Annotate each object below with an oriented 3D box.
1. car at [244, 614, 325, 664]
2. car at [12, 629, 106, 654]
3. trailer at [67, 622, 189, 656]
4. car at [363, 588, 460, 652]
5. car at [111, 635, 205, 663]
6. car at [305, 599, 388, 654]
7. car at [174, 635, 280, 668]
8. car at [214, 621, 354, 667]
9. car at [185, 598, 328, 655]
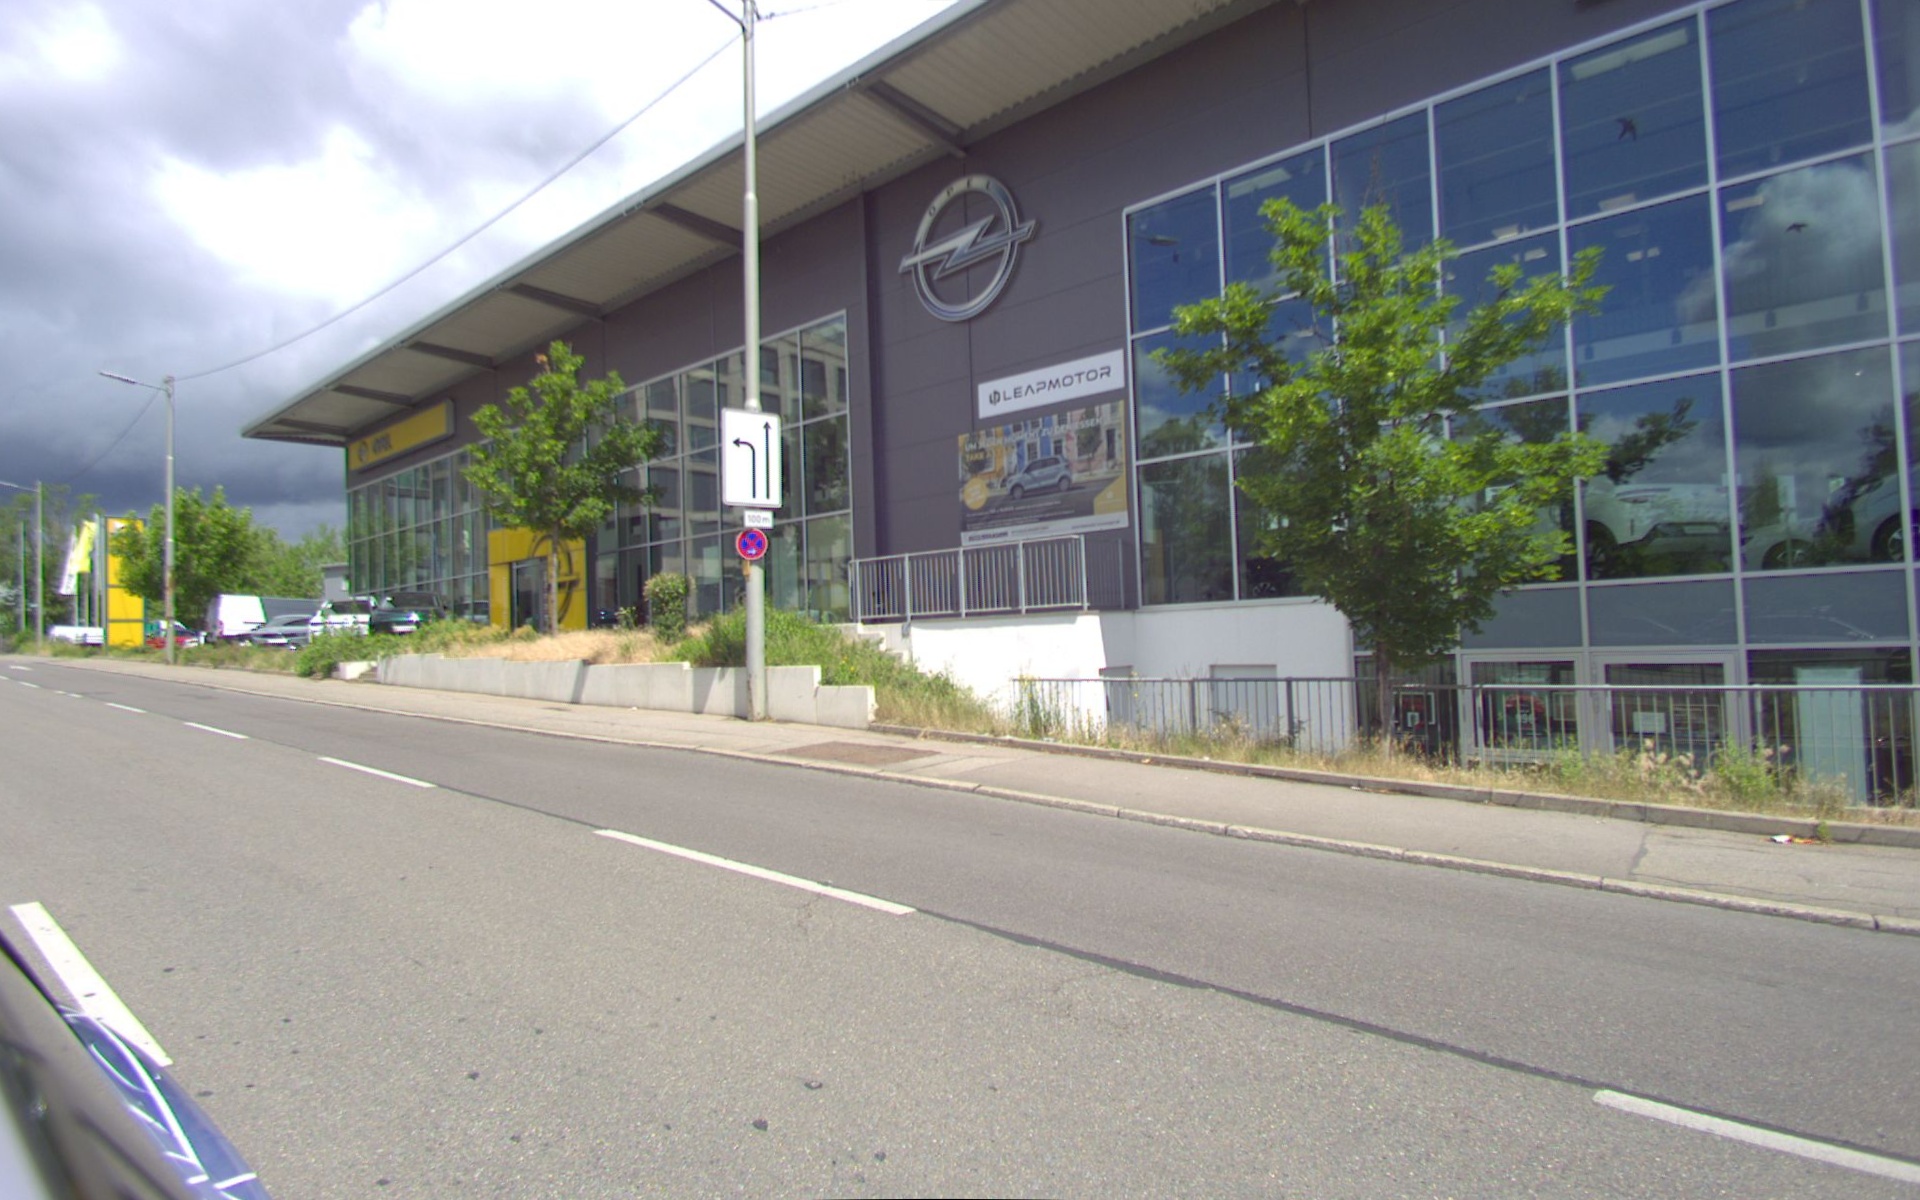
[{"bbox_3d":[-23.478,1.339,35.310,1.767,1.625,4.122,1,-2,-26],"label":"car"},{"bbox_3d":[-57.737,2.634,64.885,2.093,1.493,4.200,-2,-2,38],"label":"car"},{"bbox_3d":[-45.332,2.095,55.226,2.092,1.765,4.776,-2,-2,37],"label":"trailer"},{"bbox_3d":[-15.476,0.607,28.755,1.790,1.625,4.122,2,-3,-20],"label":"car"},{"bbox_3d":[-42.027,2.543,53.098,1.814,1.420,3.621,-2,-2,42],"label":"car"},{"bbox_3d":[-19.198,0.821,31.822,1.767,1.625,4.122,0,-1,-25],"label":"car"},{"bbox_3d":[-35.533,2.462,49.162,1.559,1.539,3.897,-2,-2,38],"label":"car"},{"bbox_3d":[-25.739,1.653,38.674,1.792,1.625,4.064,-2,-2,32],"label":"car"},{"bbox_3d":[-29.179,1.075,42.081,2.177,2.211,4.475,-1,-2,39],"label":"car"}]
